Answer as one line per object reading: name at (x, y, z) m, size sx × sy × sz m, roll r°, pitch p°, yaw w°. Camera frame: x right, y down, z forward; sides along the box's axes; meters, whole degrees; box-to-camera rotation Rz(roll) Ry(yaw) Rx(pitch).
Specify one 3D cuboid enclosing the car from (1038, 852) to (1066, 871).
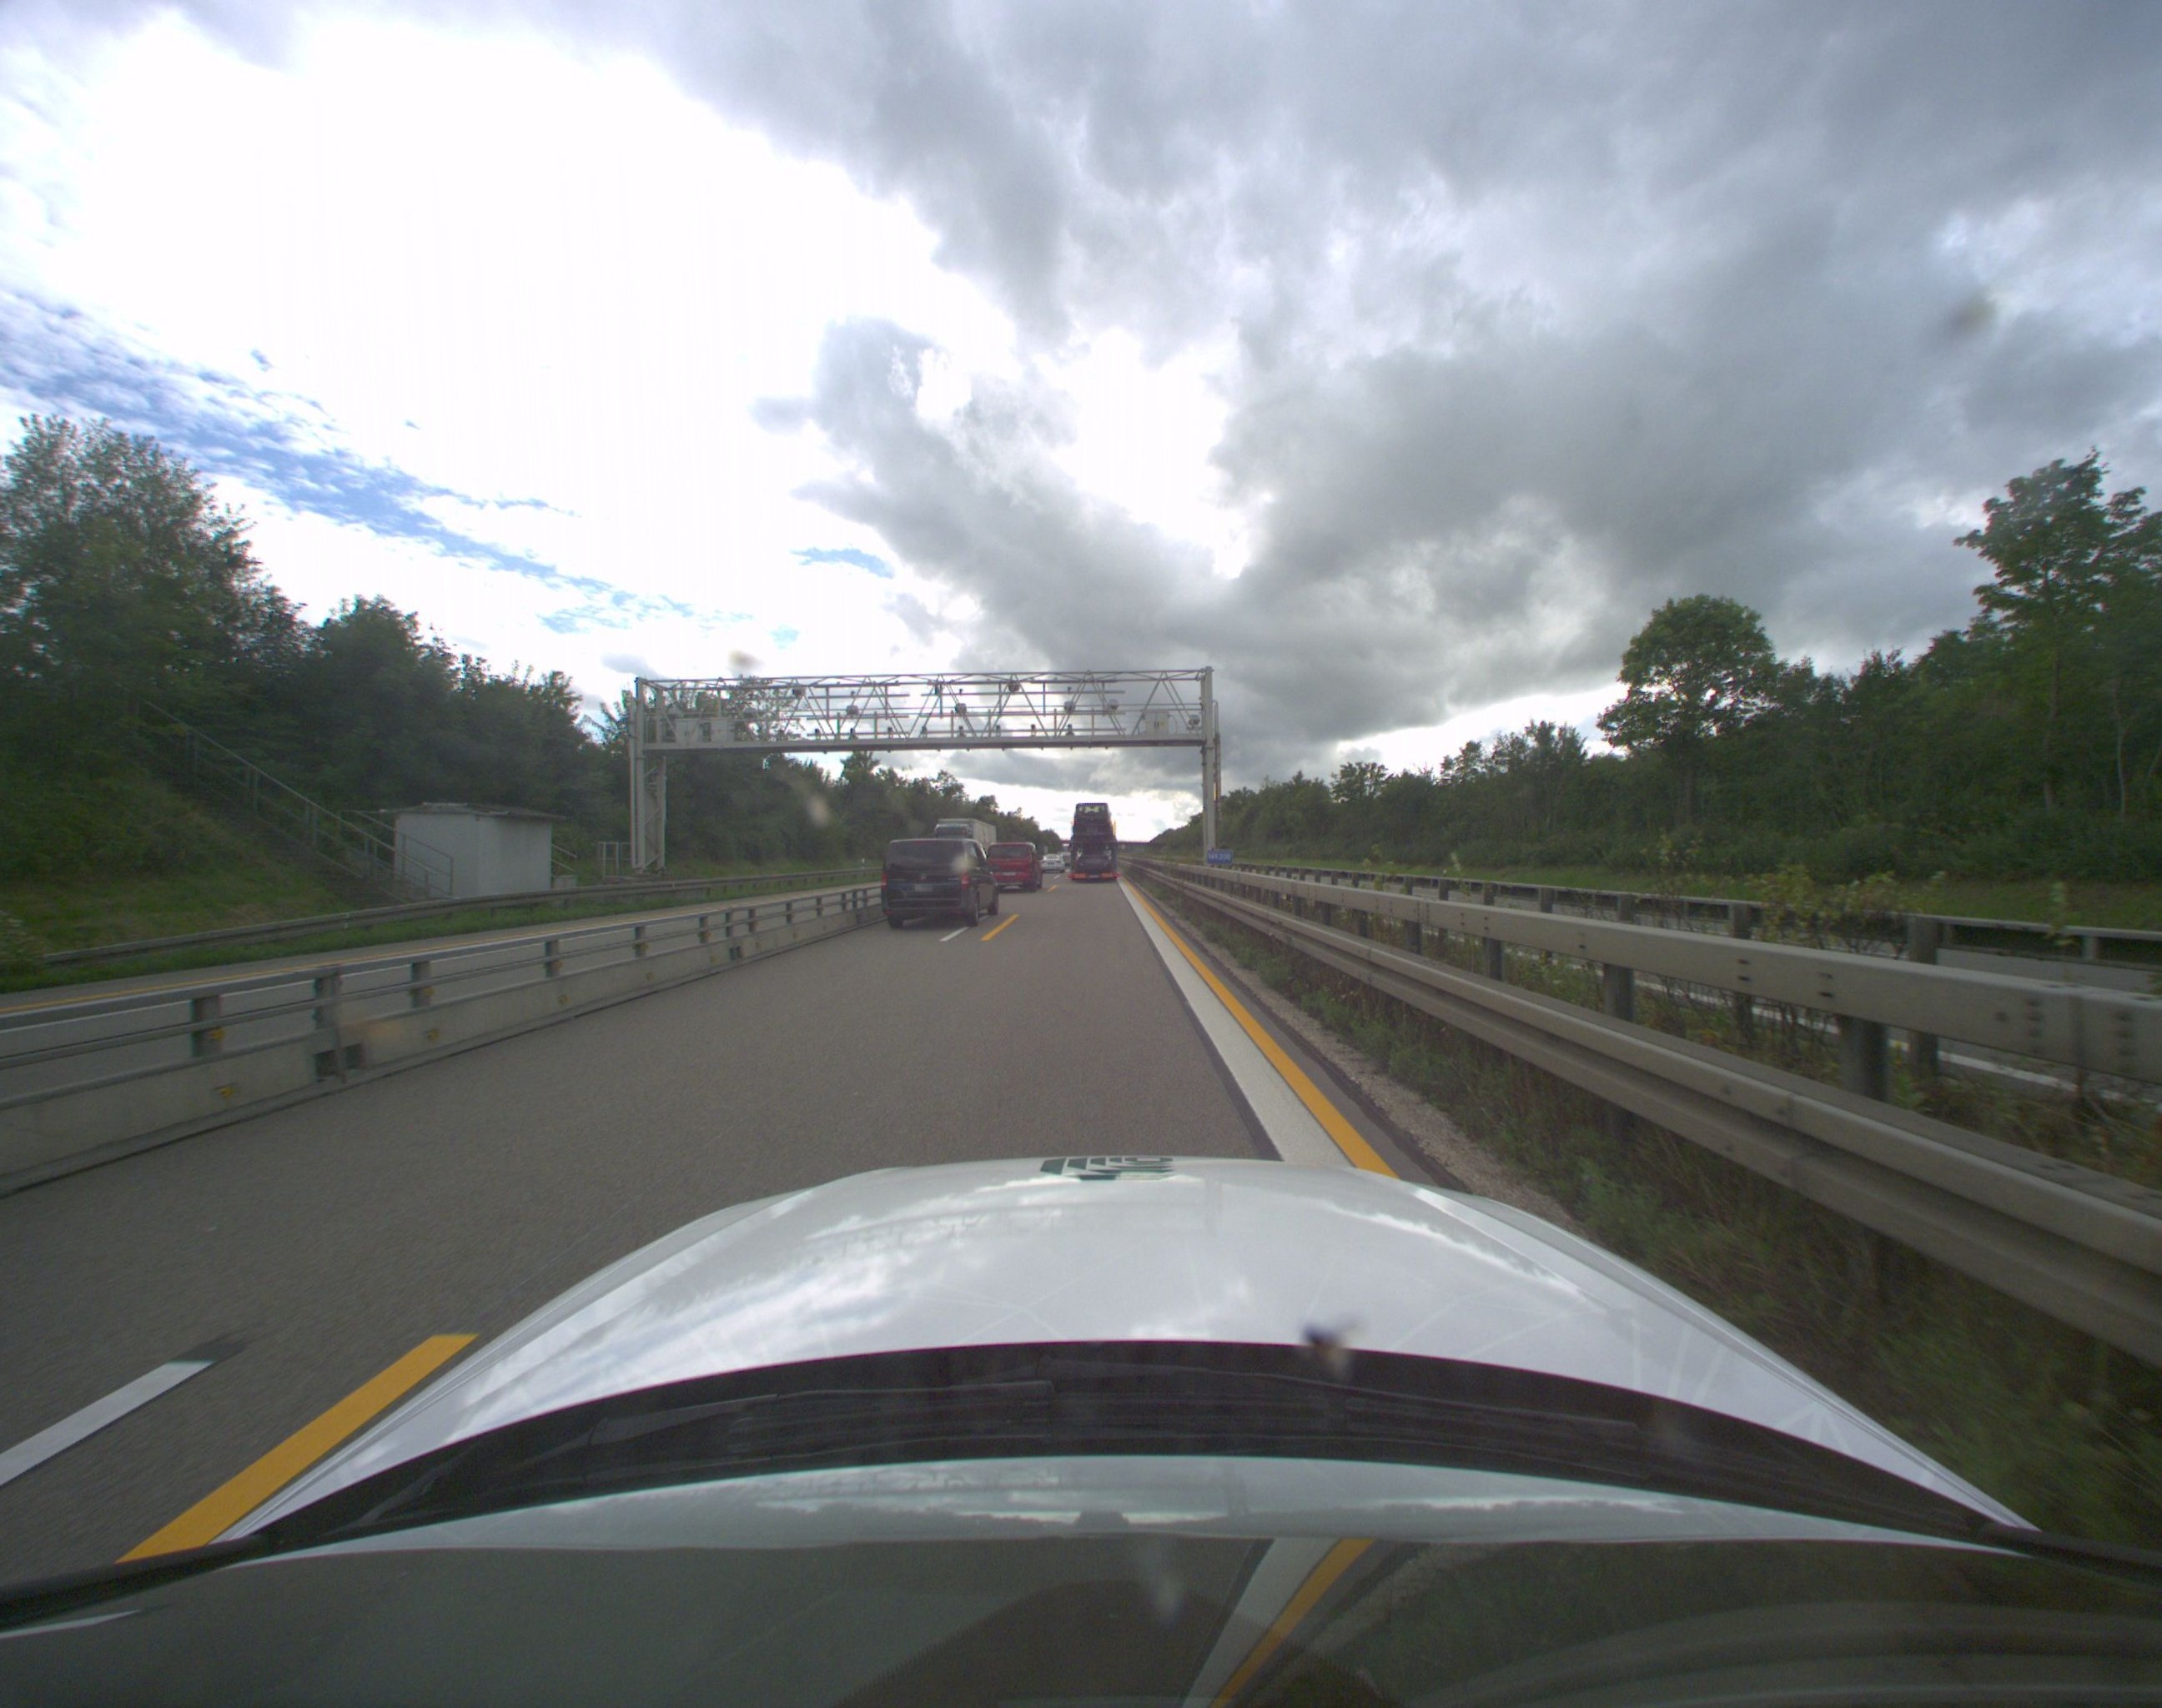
car at (-2.252, 0.560, 64.232) m, size 2.024 × 1.430 × 4.578 m, roll -1°, pitch 0°, yaw 1°

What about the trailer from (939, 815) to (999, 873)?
trailer at (-8.764, -0.745, 65.563) m, size 2.589 × 4.154 × 13.994 m, roll 0°, pitch 0°, yaw 1°

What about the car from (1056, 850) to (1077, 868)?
car at (-1.499, 0.515, 84.696) m, size 2.024 × 1.757 × 4.578 m, roll -1°, pitch 0°, yaw 1°

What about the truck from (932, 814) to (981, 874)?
truck at (-8.910, -0.711, 58.775) m, size 2.589 × 4.154 × 5.621 m, roll 0°, pitch 0°, yaw 1°

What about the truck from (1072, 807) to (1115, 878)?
truck at (0.816, -0.663, 50.390) m, size 2.506 × 4.105 × 5.687 m, roll -1°, pitch 0°, yaw 2°

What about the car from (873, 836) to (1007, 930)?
car at (-3.059, 0.582, 19.008) m, size 1.986 × 1.843 × 5.611 m, roll -1°, pitch 0°, yaw 1°

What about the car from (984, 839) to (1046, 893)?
car at (-2.615, 0.456, 33.373) m, size 2.024 × 2.013 × 4.579 m, roll -1°, pitch 0°, yaw 1°

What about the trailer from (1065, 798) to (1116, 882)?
trailer at (0.659, -0.676, 45.644) m, size 2.506 × 4.105 × 11.118 m, roll -1°, pitch 0°, yaw 2°
